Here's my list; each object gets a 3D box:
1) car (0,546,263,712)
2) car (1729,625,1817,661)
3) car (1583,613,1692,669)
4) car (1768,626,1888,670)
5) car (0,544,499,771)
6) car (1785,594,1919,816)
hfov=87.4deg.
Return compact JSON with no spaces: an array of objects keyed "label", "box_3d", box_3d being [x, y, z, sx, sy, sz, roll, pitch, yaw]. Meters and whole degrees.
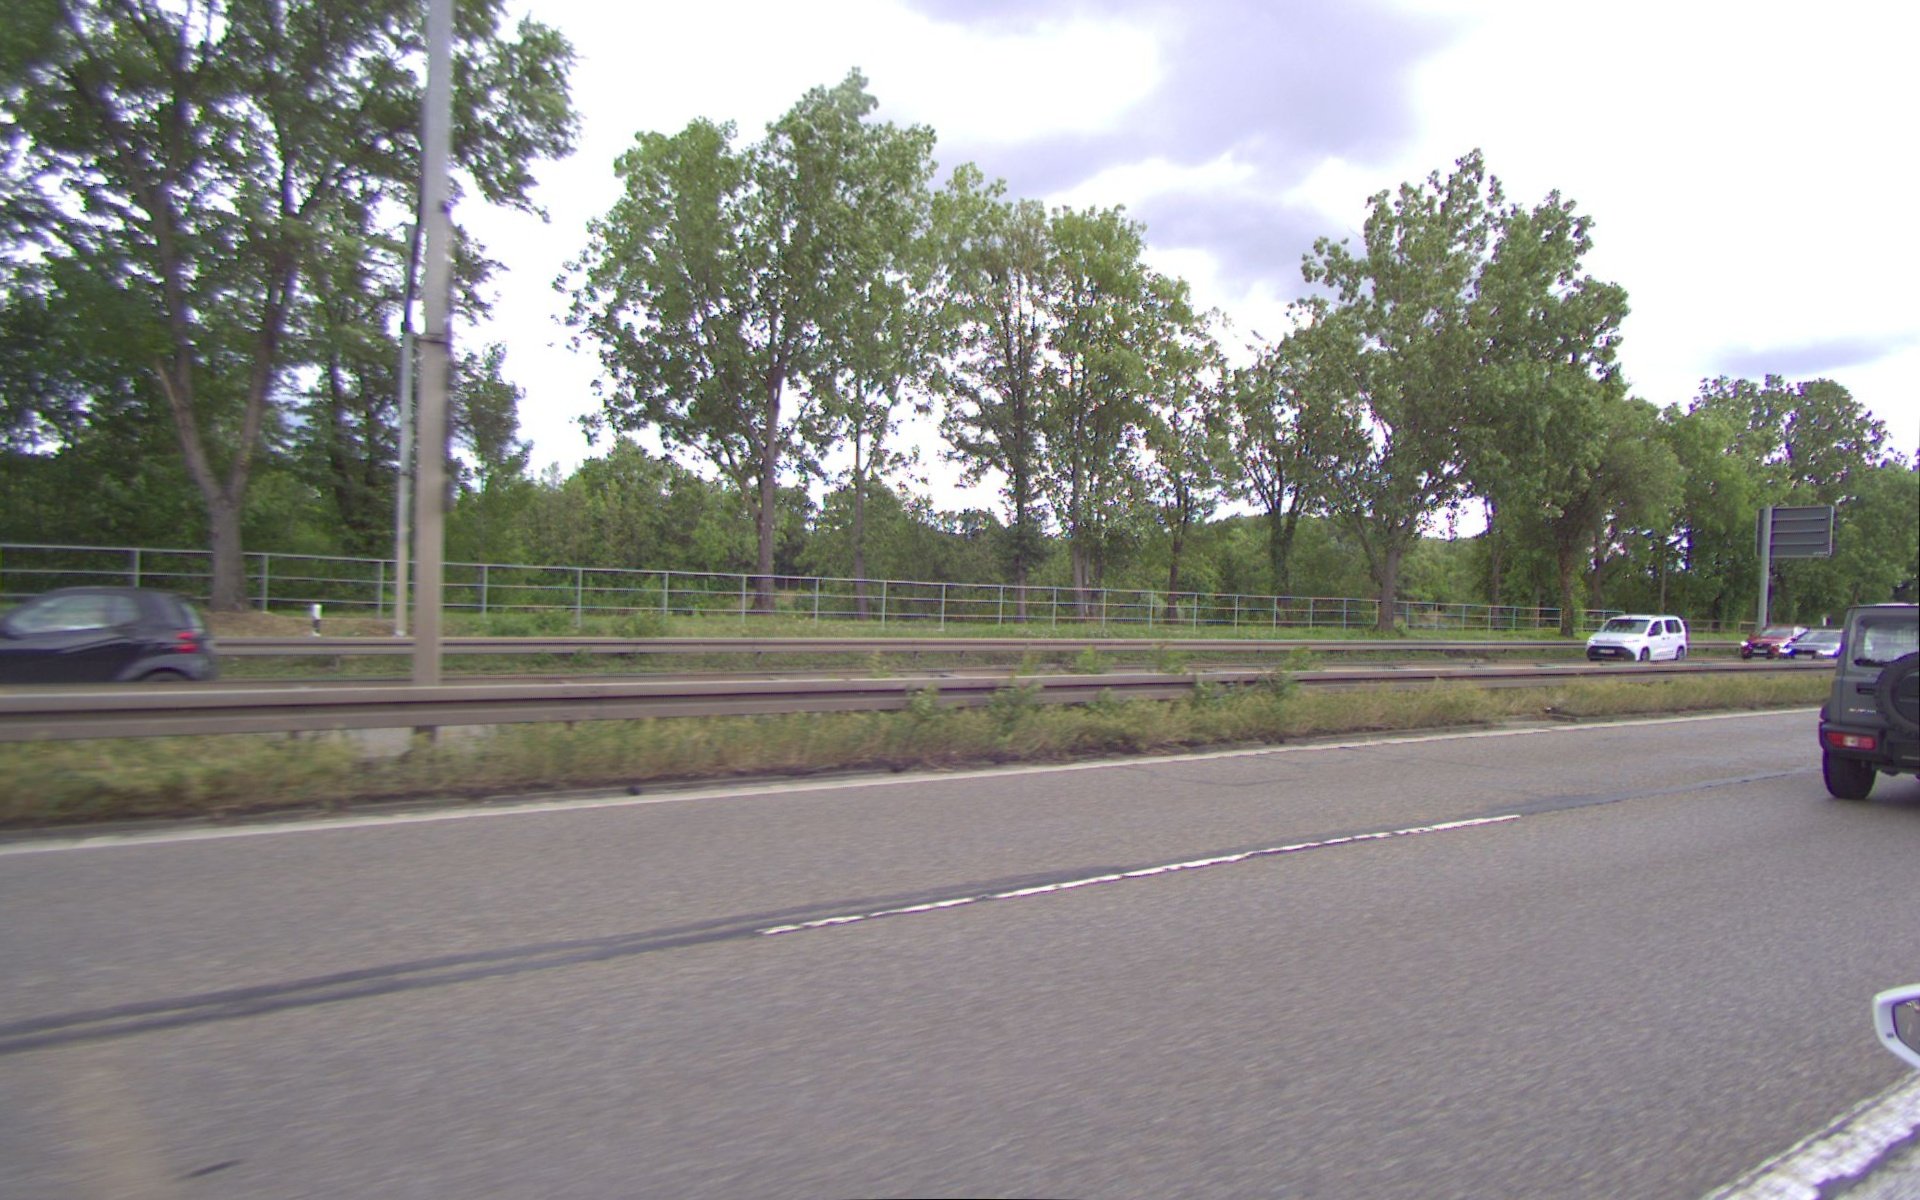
[{"label":"car","box_3d":[-10.549,0.318,11.779,3.697,1.798,1.718,2,0,-30]},{"label":"car","box_3d":[36.180,1.917,44.662,4.332,1.484,1.708,2,0,-32]},{"label":"car","box_3d":[24.932,1.496,36.911,4.511,1.909,1.602,2,0,-32]},{"label":"car","box_3d":[32.646,1.799,37.718,5.489,1.484,1.851,2,0,-32]},{"label":"car","box_3d":[-6.505,0.493,9.558,3.697,1.798,1.718,2,0,-30]},{"label":"car","box_3d":[9.085,0.855,8.811,3.956,1.708,1.688,1,0,-32]}]
